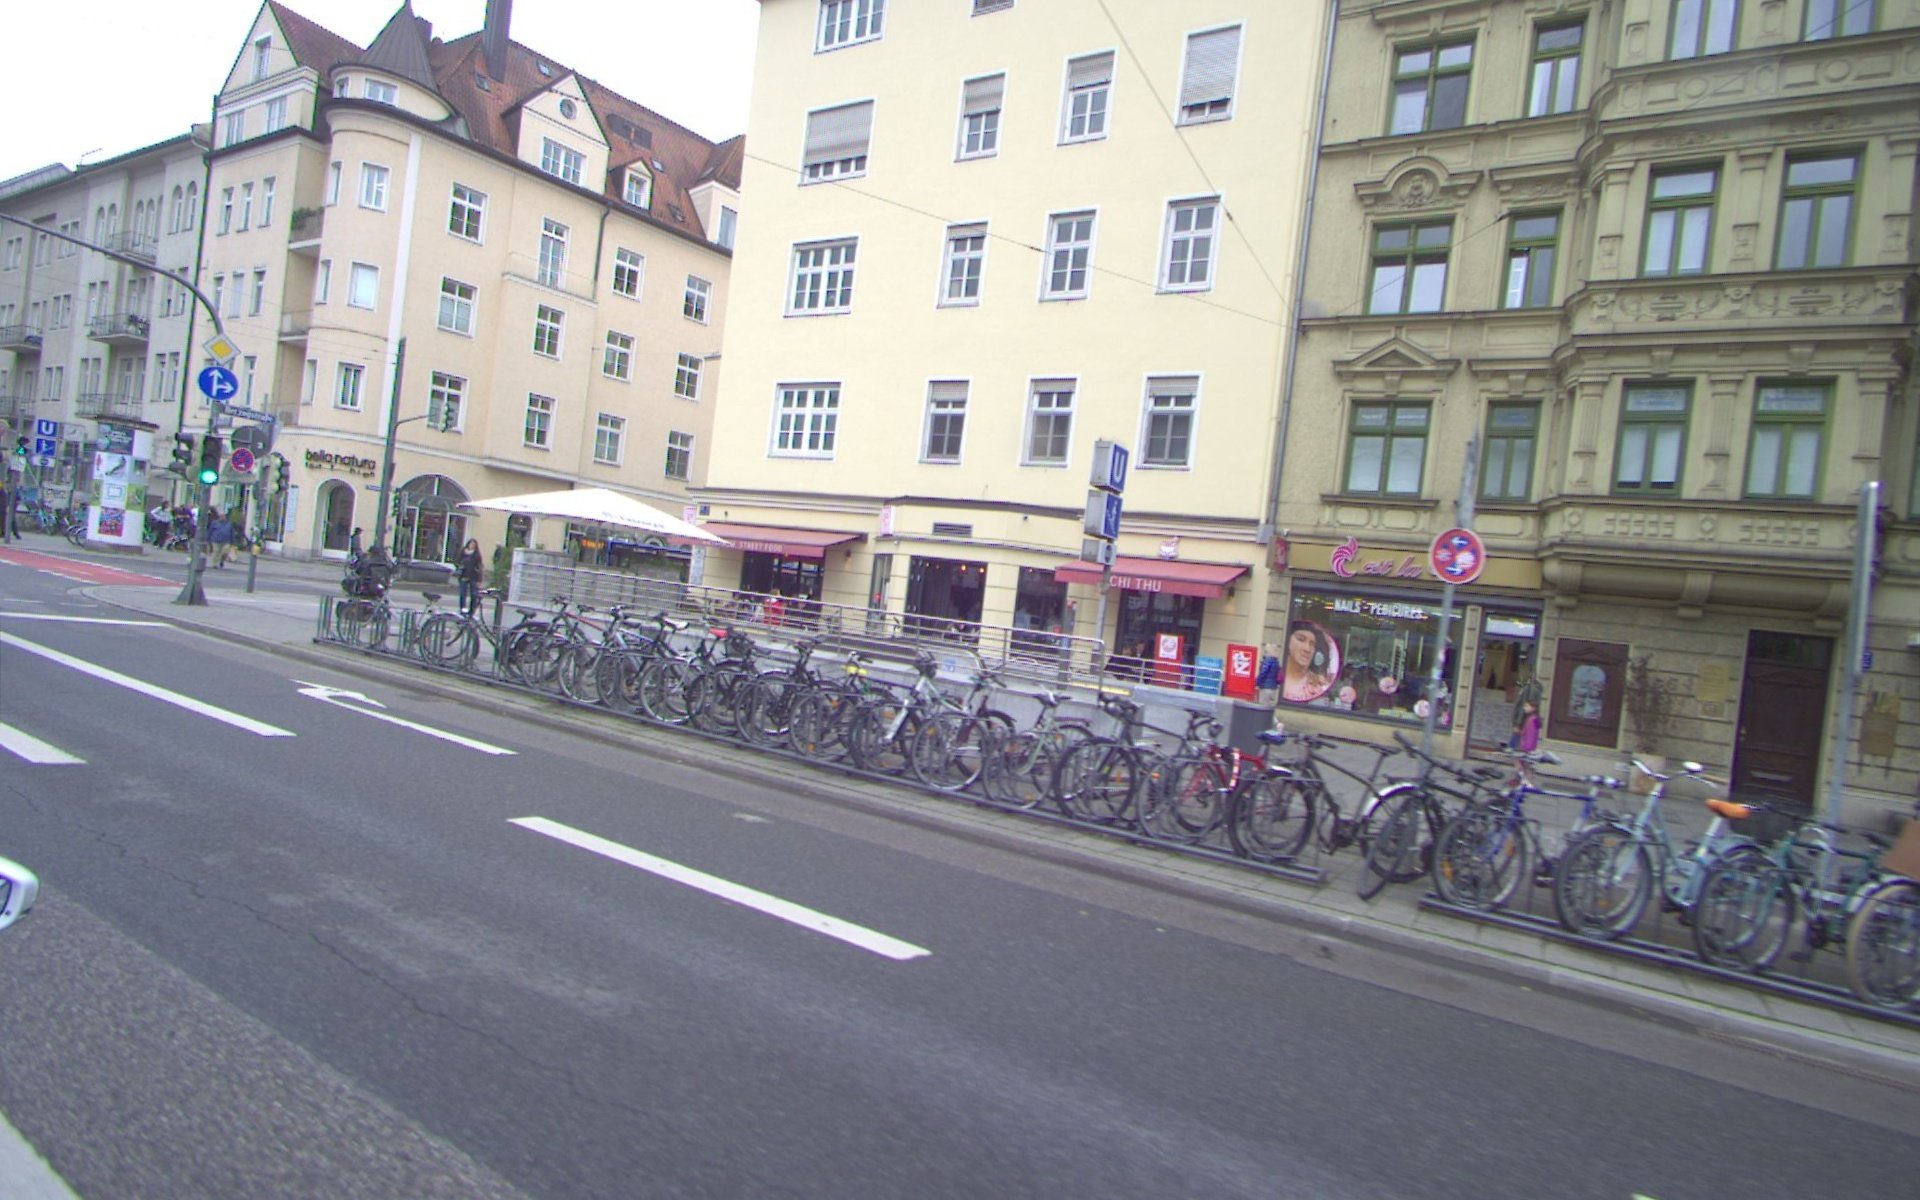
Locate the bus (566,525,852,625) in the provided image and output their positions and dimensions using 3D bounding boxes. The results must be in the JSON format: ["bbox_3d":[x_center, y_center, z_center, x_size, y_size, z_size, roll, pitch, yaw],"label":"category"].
[{"bbox_3d":[-11.170,-0.954,47.064,2.776,3.004,13.536,9,1,42],"label":"bus"}]

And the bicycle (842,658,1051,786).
[{"bbox_3d":[-0.112,1.128,9.214,1.815,1.008,0.346,6,1,-19],"label":"bicycle"}]

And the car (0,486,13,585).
[{"bbox_3d":[-10.820,-0.510,9.569,3.497,1.608,1.705,7,-1,32],"label":"car"}]

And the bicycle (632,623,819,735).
[{"bbox_3d":[-2.466,0.840,10.617,1.815,1.008,0.346,6,1,-19],"label":"bicycle"}]

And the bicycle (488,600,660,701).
[{"bbox_3d":[-4.604,0.612,12.073,1.812,1.008,0.347,6,1,-12],"label":"bicycle"}]

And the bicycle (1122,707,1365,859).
[{"bbox_3d":[2.171,1.403,7.655,1.815,1.008,0.346,6,1,-19],"label":"bicycle"}]

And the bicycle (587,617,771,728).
[{"bbox_3d":[-3.040,0.796,10.971,1.813,1.008,0.347,6,1,-15],"label":"bicycle"}]

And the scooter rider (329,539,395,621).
[{"bbox_3d":[-10.946,-0.360,18.419,0.632,1.406,0.701,7,1,30],"label":"scooter rider"}]

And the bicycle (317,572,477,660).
[{"bbox_3d":[-7.719,0.227,13.847,1.812,1.008,0.347,6,1,-14],"label":"bicycle"}]

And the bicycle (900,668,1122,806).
[{"bbox_3d":[0.446,1.193,8.719,1.813,1.008,0.347,6,1,-15],"label":"bicycle"}]

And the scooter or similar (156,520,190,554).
[{"bbox_3d":[-27.493,-2.201,35.140,0.815,1.007,0.587,7,3,-36],"label":"scooter or similar"}]

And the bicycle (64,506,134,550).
[{"bbox_3d":[-27.862,-2.316,32.573,0.516,1.175,1.568,9,2,35],"label":"bicycle"}]

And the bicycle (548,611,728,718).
[{"bbox_3d":[-3.591,0.729,11.318,1.813,1.008,0.347,6,1,-15],"label":"bicycle"}]

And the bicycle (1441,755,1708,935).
[{"bbox_3d":[4.125,1.650,6.724,1.816,1.008,0.324,9,0,-19],"label":"bicycle"}]

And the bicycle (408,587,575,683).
[{"bbox_3d":[-5.912,0.448,12.758,1.812,1.008,0.347,6,1,-14],"label":"bicycle"}]

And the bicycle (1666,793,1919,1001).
[{"bbox_3d":[5.085,1.758,5.911,1.814,1.008,0.324,9,1,-14],"label":"bicycle"}]

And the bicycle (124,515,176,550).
[{"bbox_3d":[-30.204,-2.502,37.509,1.831,1.072,0.496,7,1,17],"label":"bicycle"}]

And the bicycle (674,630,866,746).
[{"bbox_3d":[-1.925,0.904,10.252,1.815,1.008,0.346,6,1,-19],"label":"bicycle"}]

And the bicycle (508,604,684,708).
[{"bbox_3d":[-4.191,0.656,11.681,1.813,1.008,0.347,6,1,-15],"label":"bicycle"}]

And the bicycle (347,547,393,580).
[{"bbox_3d":[-21.375,-1.298,36.479,0.244,1.046,1.584,7,0,18],"label":"bicycle"}]

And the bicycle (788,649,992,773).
[{"bbox_3d":[-0.656,1.062,9.553,1.815,1.008,0.346,6,1,-19],"label":"bicycle"}]

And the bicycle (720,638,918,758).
[{"bbox_3d":[-1.375,0.970,9.892,1.815,1.008,0.346,6,1,-19],"label":"bicycle"}]

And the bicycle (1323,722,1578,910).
[{"bbox_3d":[3.433,1.499,6.991,1.819,1.126,0.464,7,1,-26],"label":"bicycle"}]

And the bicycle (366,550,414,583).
[{"bbox_3d":[-20.669,-1.193,36.508,0.350,1.046,1.584,7,0,18],"label":"bicycle"}]

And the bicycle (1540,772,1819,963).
[{"bbox_3d":[4.543,1.695,6.326,1.816,1.008,0.324,9,0,-19],"label":"bicycle"}]

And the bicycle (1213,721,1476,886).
[{"bbox_3d":[2.779,1.474,7.249,1.813,1.008,0.324,7,1,-14],"label":"bicycle"}]

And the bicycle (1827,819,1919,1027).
[{"bbox_3d":[5.701,1.831,5.680,1.818,1.008,0.323,9,0,-22],"label":"bicycle"}]

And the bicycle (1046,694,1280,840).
[{"bbox_3d":[1.632,1.339,8.022,1.815,1.008,0.346,6,1,-19],"label":"bicycle"}]

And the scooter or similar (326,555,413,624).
[{"bbox_3d":[-10.782,-0.187,18.363,1.235,1.088,0.776,7,1,30],"label":"scooter or similar"}]

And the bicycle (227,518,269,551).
[{"bbox_3d":[-28.666,-2.647,40.474,1.833,1.103,0.495,7,1,26],"label":"bicycle"}]

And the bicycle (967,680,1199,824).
[{"bbox_3d":[1.026,1.262,8.322,1.813,1.008,0.347,6,1,-15],"label":"bicycle"}]
